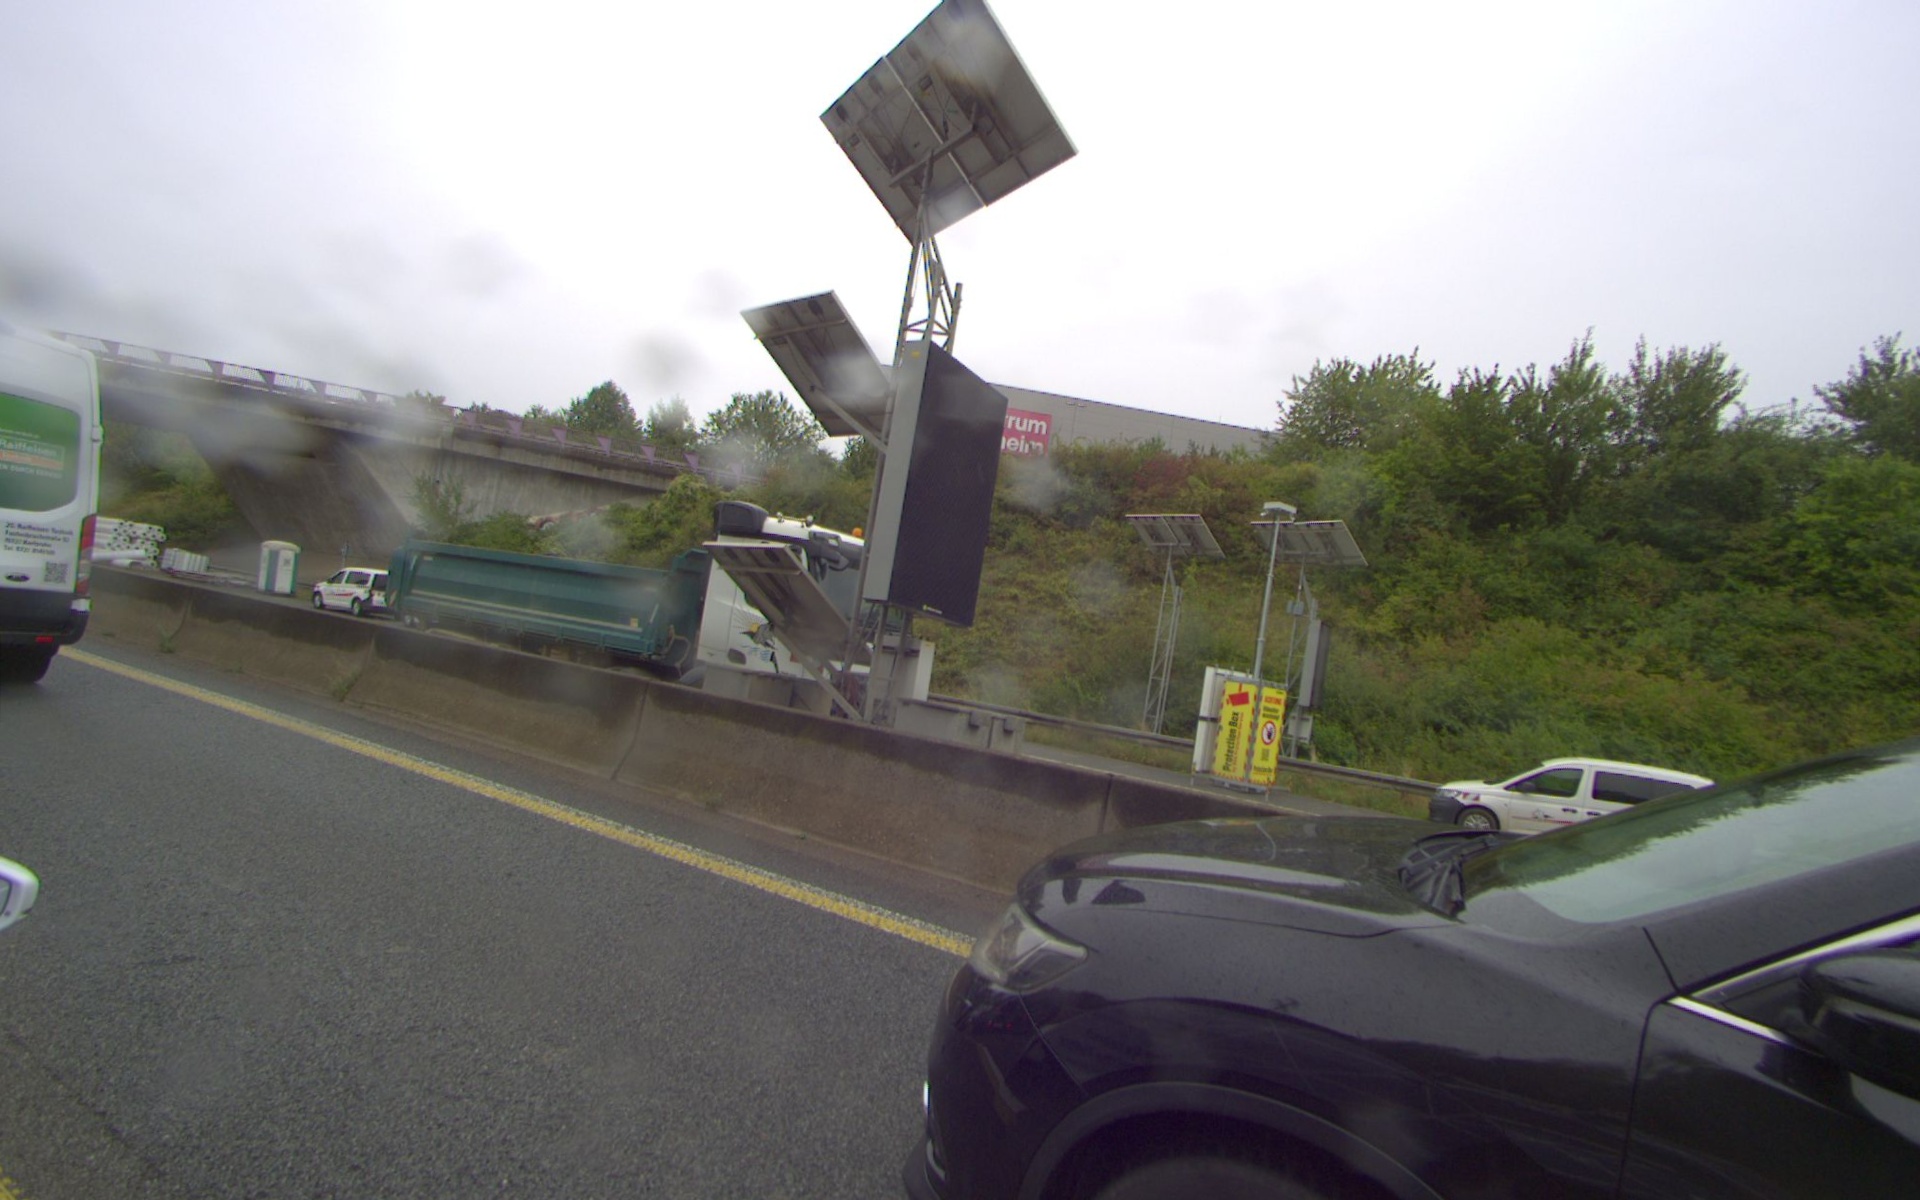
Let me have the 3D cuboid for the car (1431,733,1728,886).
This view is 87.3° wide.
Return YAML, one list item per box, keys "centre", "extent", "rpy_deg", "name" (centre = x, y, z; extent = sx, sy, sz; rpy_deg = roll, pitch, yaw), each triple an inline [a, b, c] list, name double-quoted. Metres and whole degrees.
- centre: [10.926, 3.622, 18.046]
  extent: [4.196, 1.778, 1.732]
  rpy_deg: [6, -2, 30]
  name: "car"

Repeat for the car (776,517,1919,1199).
- centre: [2.112, 0.979, 1.676]
  extent: [4.563, 1.694, 1.894]
  rpy_deg: [6, -2, 30]
  name: "car"

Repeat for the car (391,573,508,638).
- centre: [-17.965, 0.189, 35.344]
  extent: [4.058, 1.765, 1.731]
  rpy_deg: [6, -2, 34]
  name: "car"

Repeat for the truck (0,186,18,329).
- centre: [-23.586, -4.232, 18.255]
  extent: [20.039, 5.739, 3.987]
  rpy_deg: [6, -1, 32]
  name: "truck"

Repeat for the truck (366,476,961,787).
- centre: [-4.612, 0.181, 14.411]
  extent: [8.967, 3.168, 2.525]
  rpy_deg: [6, -1, 31]
  name: "truck"

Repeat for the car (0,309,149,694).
- centre: [-9.538, -0.997, 8.472]
  extent: [6.016, 2.707, 2.148]
  rpy_deg: [6, -1, 32]
  name: "car"

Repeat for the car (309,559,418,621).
- centre: [-22.933, -0.394, 38.648]
  extent: [4.090, 1.830, 1.850]
  rpy_deg: [6, -2, 34]
  name: "car"

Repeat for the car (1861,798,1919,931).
- centre: [16.322, 4.265, 14.726]
  extent: [4.257, 1.790, 1.732]
  rpy_deg: [6, -2, 30]
  name: "car"
